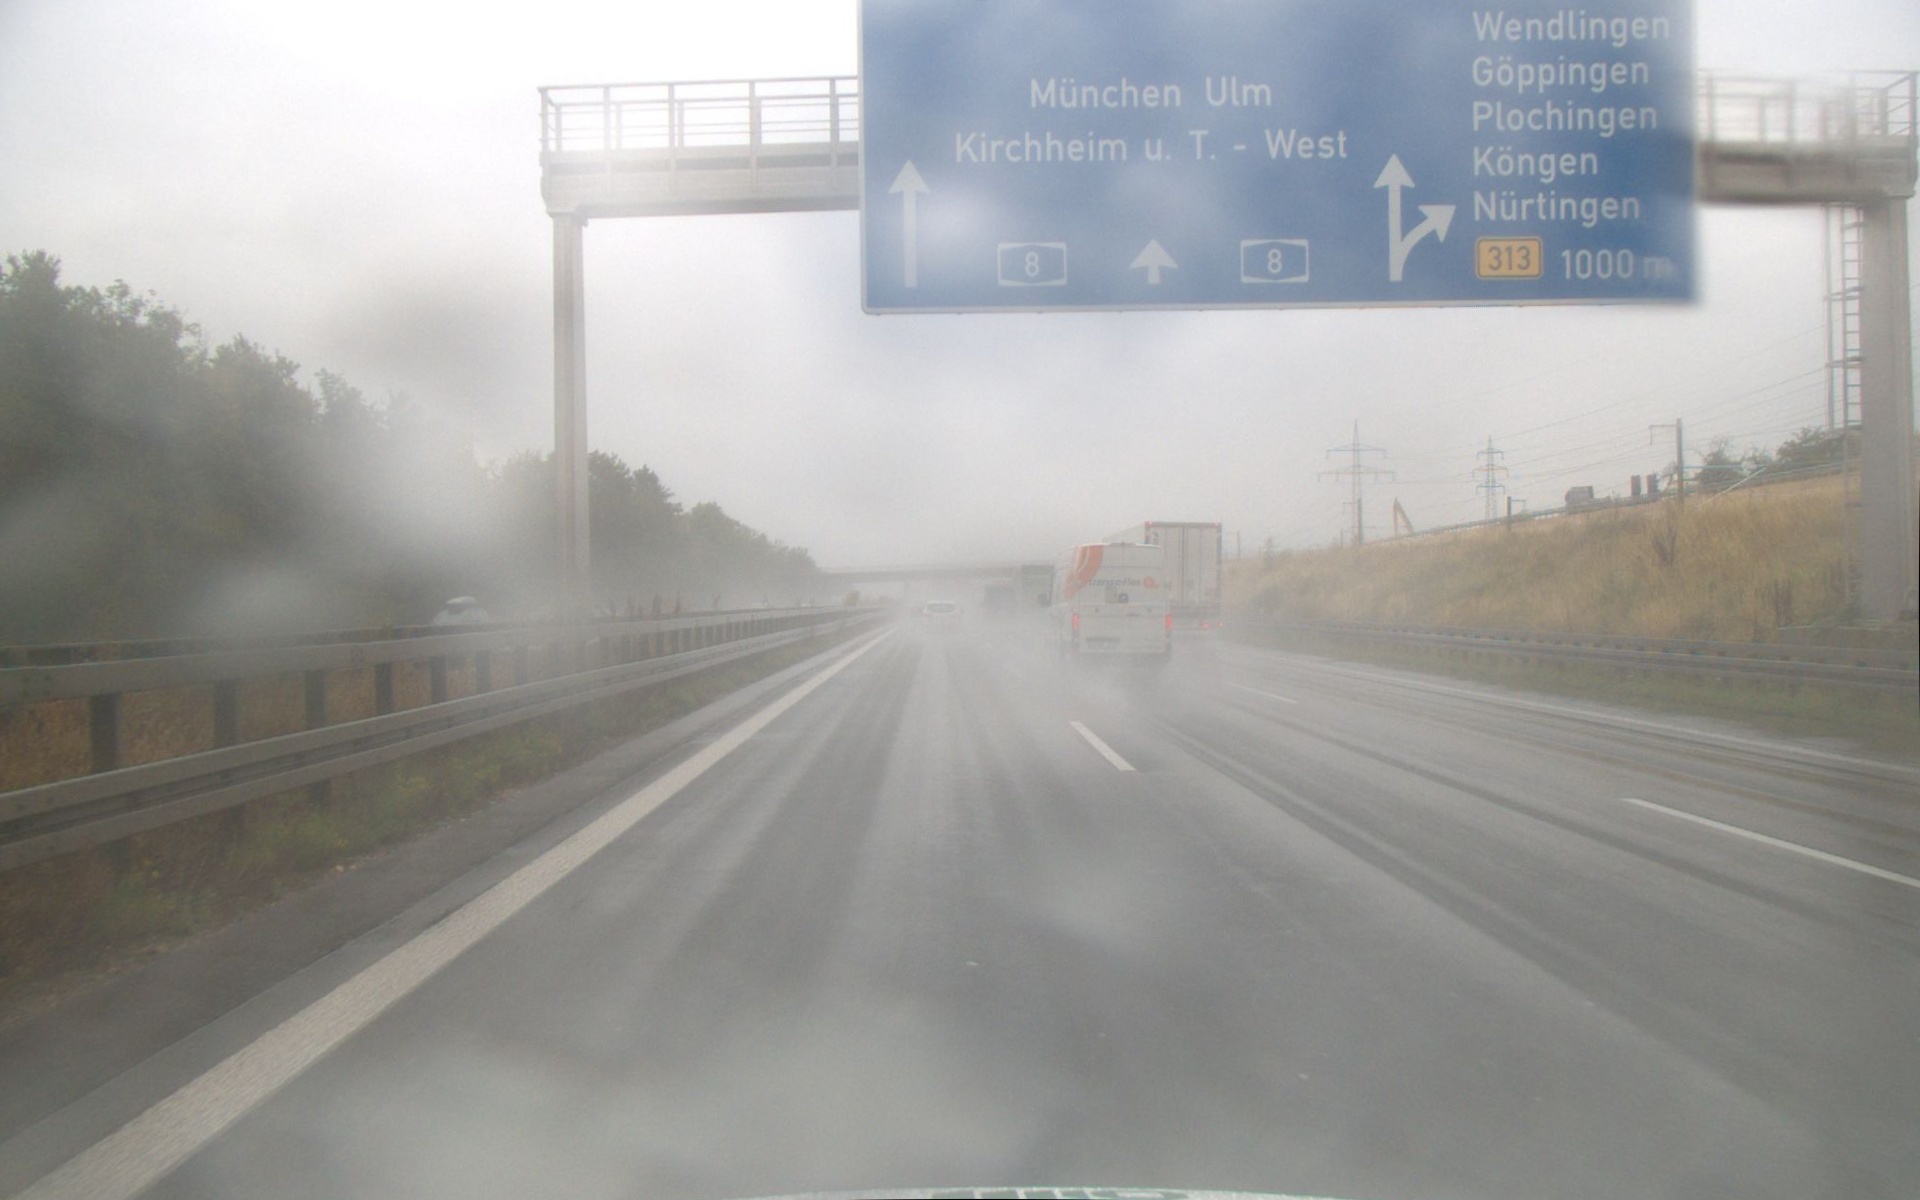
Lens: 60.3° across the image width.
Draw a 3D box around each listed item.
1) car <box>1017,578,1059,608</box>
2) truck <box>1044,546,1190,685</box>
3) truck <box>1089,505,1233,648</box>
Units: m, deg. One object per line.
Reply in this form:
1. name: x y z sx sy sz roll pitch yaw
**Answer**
1. car: 5.637 -0.509 120.403 2.731 2.049 4.992 1 1 -1
2. truck: 3.037 0.239 33.262 2.370 2.536 5.560 1 1 0
3. truck: 7.245 -0.772 62.544 2.978 4.668 16.345 1 0 -2
